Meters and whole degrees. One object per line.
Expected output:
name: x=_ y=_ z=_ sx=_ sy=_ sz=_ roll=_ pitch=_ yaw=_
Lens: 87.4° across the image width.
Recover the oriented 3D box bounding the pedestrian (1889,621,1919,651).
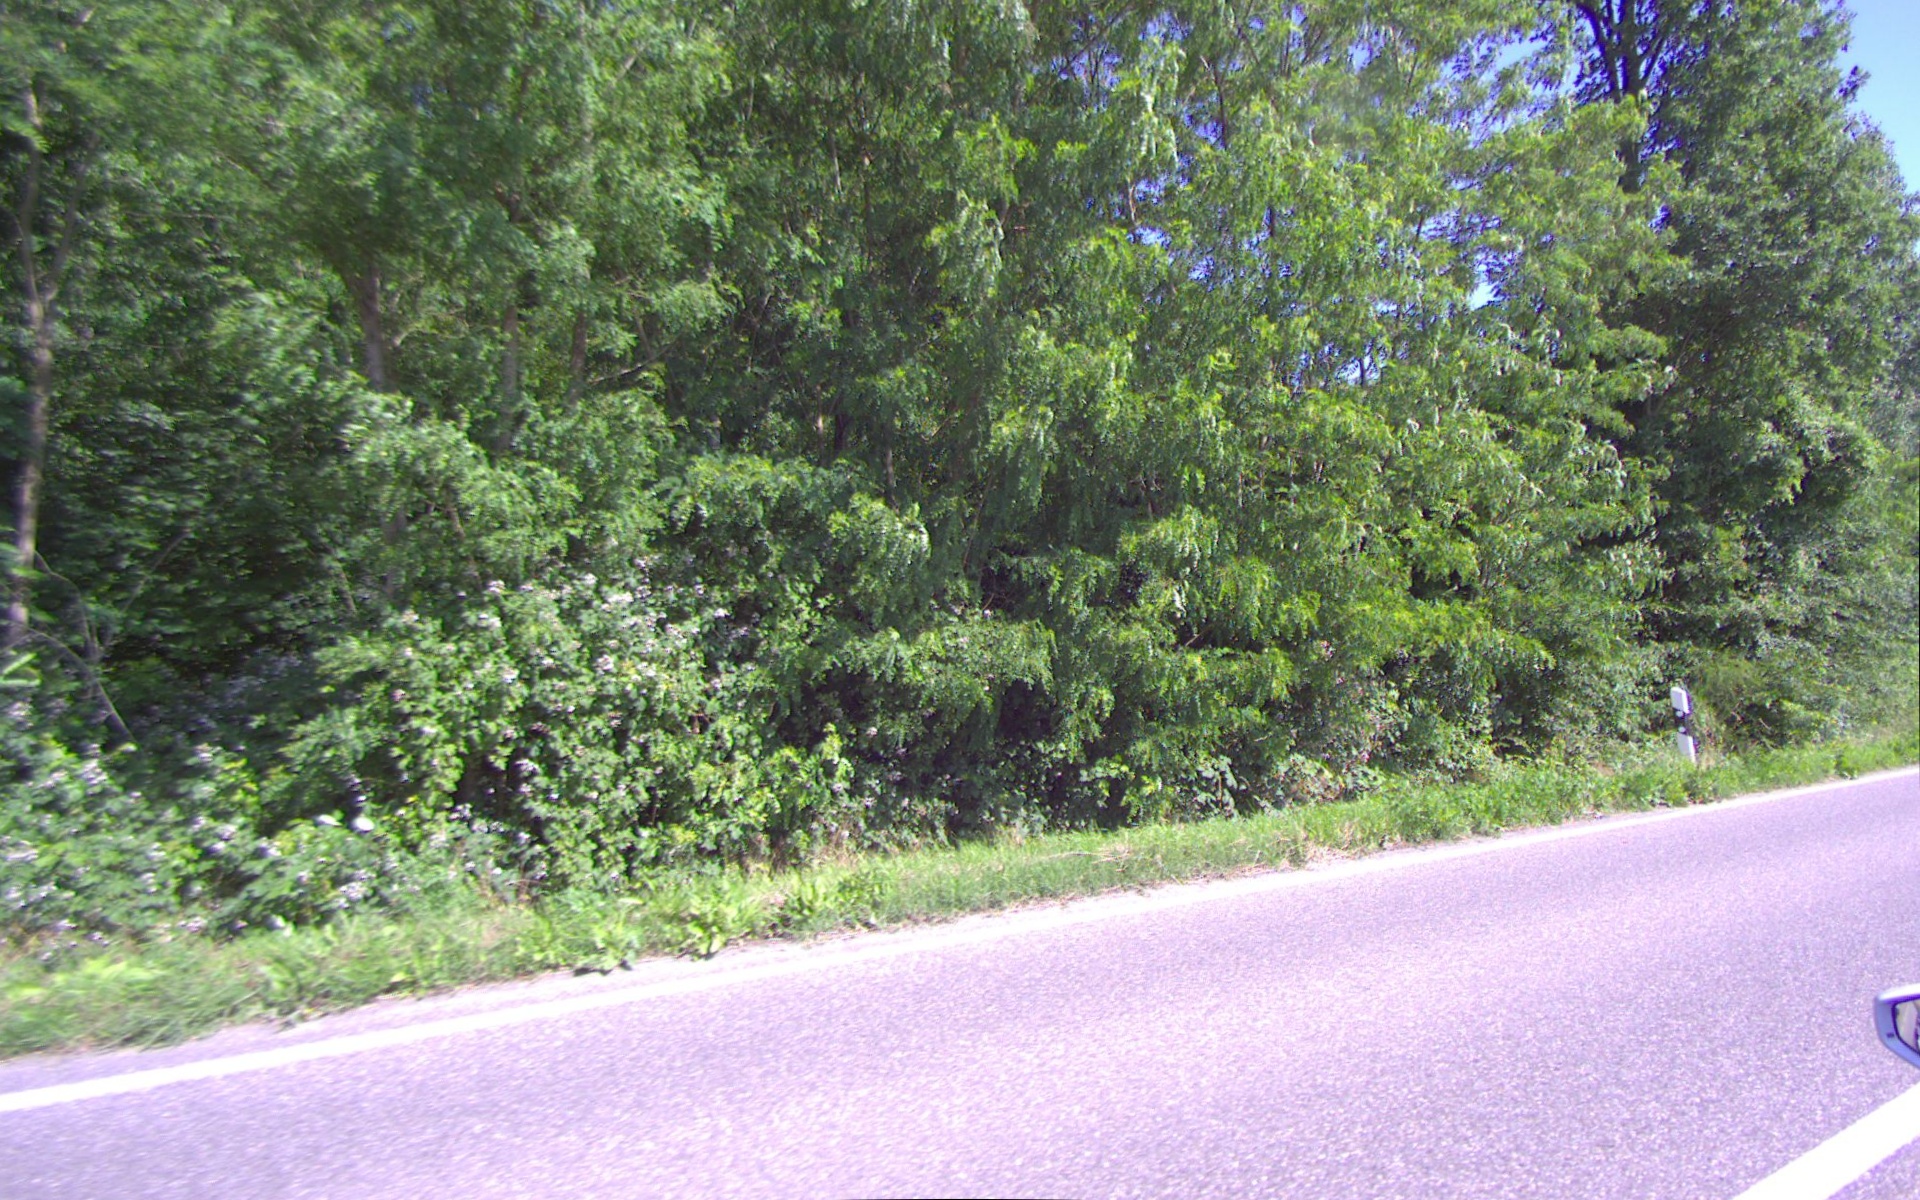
pedestrian: x=65.278 y=2.464 z=69.340 sx=1.238 sy=2.040 sz=1.142 roll=0 pitch=-1 yaw=9

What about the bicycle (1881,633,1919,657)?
bicycle: x=65.147 y=3.065 z=69.067 sx=1.162 sy=1.608 sz=3.201 roll=0 pitch=-1 yaw=11
